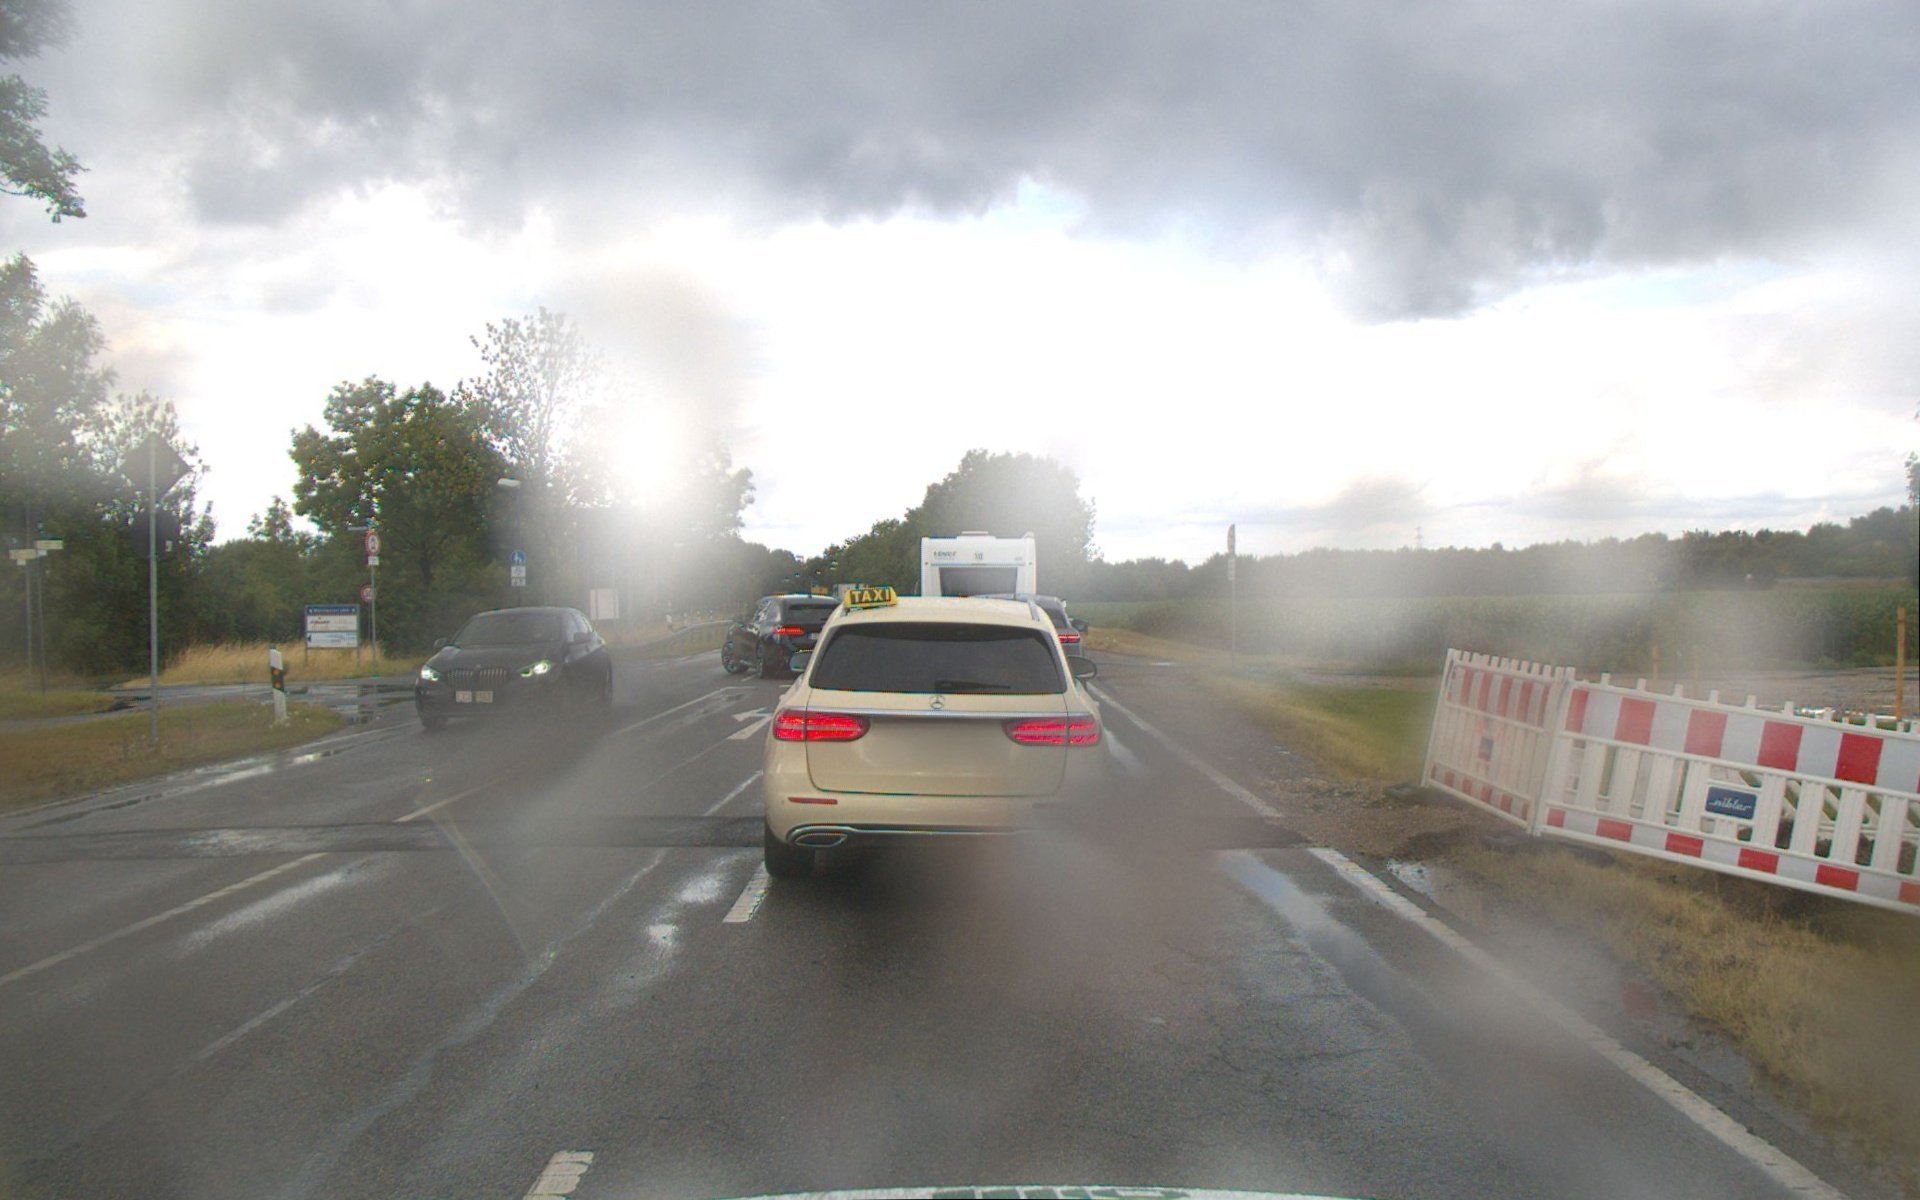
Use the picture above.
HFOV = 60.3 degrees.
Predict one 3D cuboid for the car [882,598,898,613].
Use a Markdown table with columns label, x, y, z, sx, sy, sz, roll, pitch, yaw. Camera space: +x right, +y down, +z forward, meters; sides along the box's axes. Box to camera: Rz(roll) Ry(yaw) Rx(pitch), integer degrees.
| label | x | y | z | sx | sy | sz | roll | pitch | yaw |
| --- | --- | --- | --- | --- | --- | --- | --- | --- | --- |
| car | -8.966 | 0.683 | 211.125 | 1.858 | 1.928 | 3.840 | -1 | 0 | -4 |

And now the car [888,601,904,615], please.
| label | x | y | z | sx | sy | sz | roll | pitch | yaw |
| --- | --- | --- | --- | --- | --- | --- | --- | --- | --- |
| car | -7.699 | 0.982 | 198.786 | 1.714 | 1.691 | 3.669 | -1 | 0 | -4 |

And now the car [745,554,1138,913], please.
| label | x | y | z | sx | sy | sz | roll | pitch | yaw |
| --- | --- | --- | --- | --- | --- | --- | --- | --- | --- |
| car | -0.112 | 0.622 | 9.646 | 1.805 | 1.646 | 3.999 | 0 | 0 | -1 |

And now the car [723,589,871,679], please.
| label | x | y | z | sx | sy | sz | roll | pitch | yaw |
| --- | --- | --- | --- | --- | --- | --- | --- | --- | --- |
| car | -3.199 | 0.607 | 31.512 | 2.262 | 1.574 | 4.617 | 1 | 0 | -13 |

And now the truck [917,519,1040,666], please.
| label | x | y | z | sx | sy | sz | roll | pitch | yaw |
| --- | --- | --- | --- | --- | --- | --- | --- | --- | --- |
| truck | 0.299 | -0.157 | 35.368 | 2.315 | 2.776 | 7.313 | -1 | 0 | -1 |

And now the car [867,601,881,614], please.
| label | x | y | z | sx | sy | sz | roll | pitch | yaw |
| --- | --- | --- | --- | --- | --- | --- | --- | --- | --- |
| car | -12.717 | 1.052 | 244.917 | 1.857 | 1.872 | 3.881 | -1 | 0 | -1 |

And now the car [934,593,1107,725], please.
| label | x | y | z | sx | sy | sz | roll | pitch | yaw |
| --- | --- | --- | --- | --- | --- | --- | --- | --- | --- |
| car | 0.666 | 0.684 | 20.968 | 1.953 | 1.488 | 3.999 | 1 | 0 | -1 |

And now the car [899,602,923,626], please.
| label | x | y | z | sx | sy | sz | roll | pitch | yaw |
| --- | --- | --- | --- | --- | --- | --- | --- | --- | --- |
| car | -3.852 | 1.095 | 130.339 | 1.755 | 1.808 | 3.720 | -1 | 0 | -1 |

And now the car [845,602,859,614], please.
| label | x | y | z | sx | sy | sz | roll | pitch | yaw |
| --- | --- | --- | --- | --- | --- | --- | --- | --- | --- |
| car | -15.773 | 1.171 | 241.598 | 1.791 | 1.601 | 3.999 | 1 | 0 | 0 |

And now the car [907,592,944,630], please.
| label | x | y | z | sx | sy | sz | roll | pitch | yaw |
| --- | --- | --- | --- | --- | --- | --- | --- | --- | --- |
| car | -1.789 | 0.548 | 86.144 | 1.876 | 1.873 | 3.795 | -1 | 0 | -1 |

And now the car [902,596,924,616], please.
| label | x | y | z | sx | sy | sz | roll | pitch | yaw |
| --- | --- | --- | --- | --- | --- | --- | --- | --- | --- |
| car | -4.533 | 0.576 | 158.635 | 1.954 | 1.803 | 3.996 | -1 | 0 | -5 |

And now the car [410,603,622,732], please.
| label | x | y | z | sx | sy | sz | roll | pitch | yaw |
| --- | --- | --- | --- | --- | --- | --- | --- | --- | --- |
| car | -5.638 | 0.799 | 21.485 | 1.685 | 1.429 | 4.042 | -2 | 0 | -1 |
